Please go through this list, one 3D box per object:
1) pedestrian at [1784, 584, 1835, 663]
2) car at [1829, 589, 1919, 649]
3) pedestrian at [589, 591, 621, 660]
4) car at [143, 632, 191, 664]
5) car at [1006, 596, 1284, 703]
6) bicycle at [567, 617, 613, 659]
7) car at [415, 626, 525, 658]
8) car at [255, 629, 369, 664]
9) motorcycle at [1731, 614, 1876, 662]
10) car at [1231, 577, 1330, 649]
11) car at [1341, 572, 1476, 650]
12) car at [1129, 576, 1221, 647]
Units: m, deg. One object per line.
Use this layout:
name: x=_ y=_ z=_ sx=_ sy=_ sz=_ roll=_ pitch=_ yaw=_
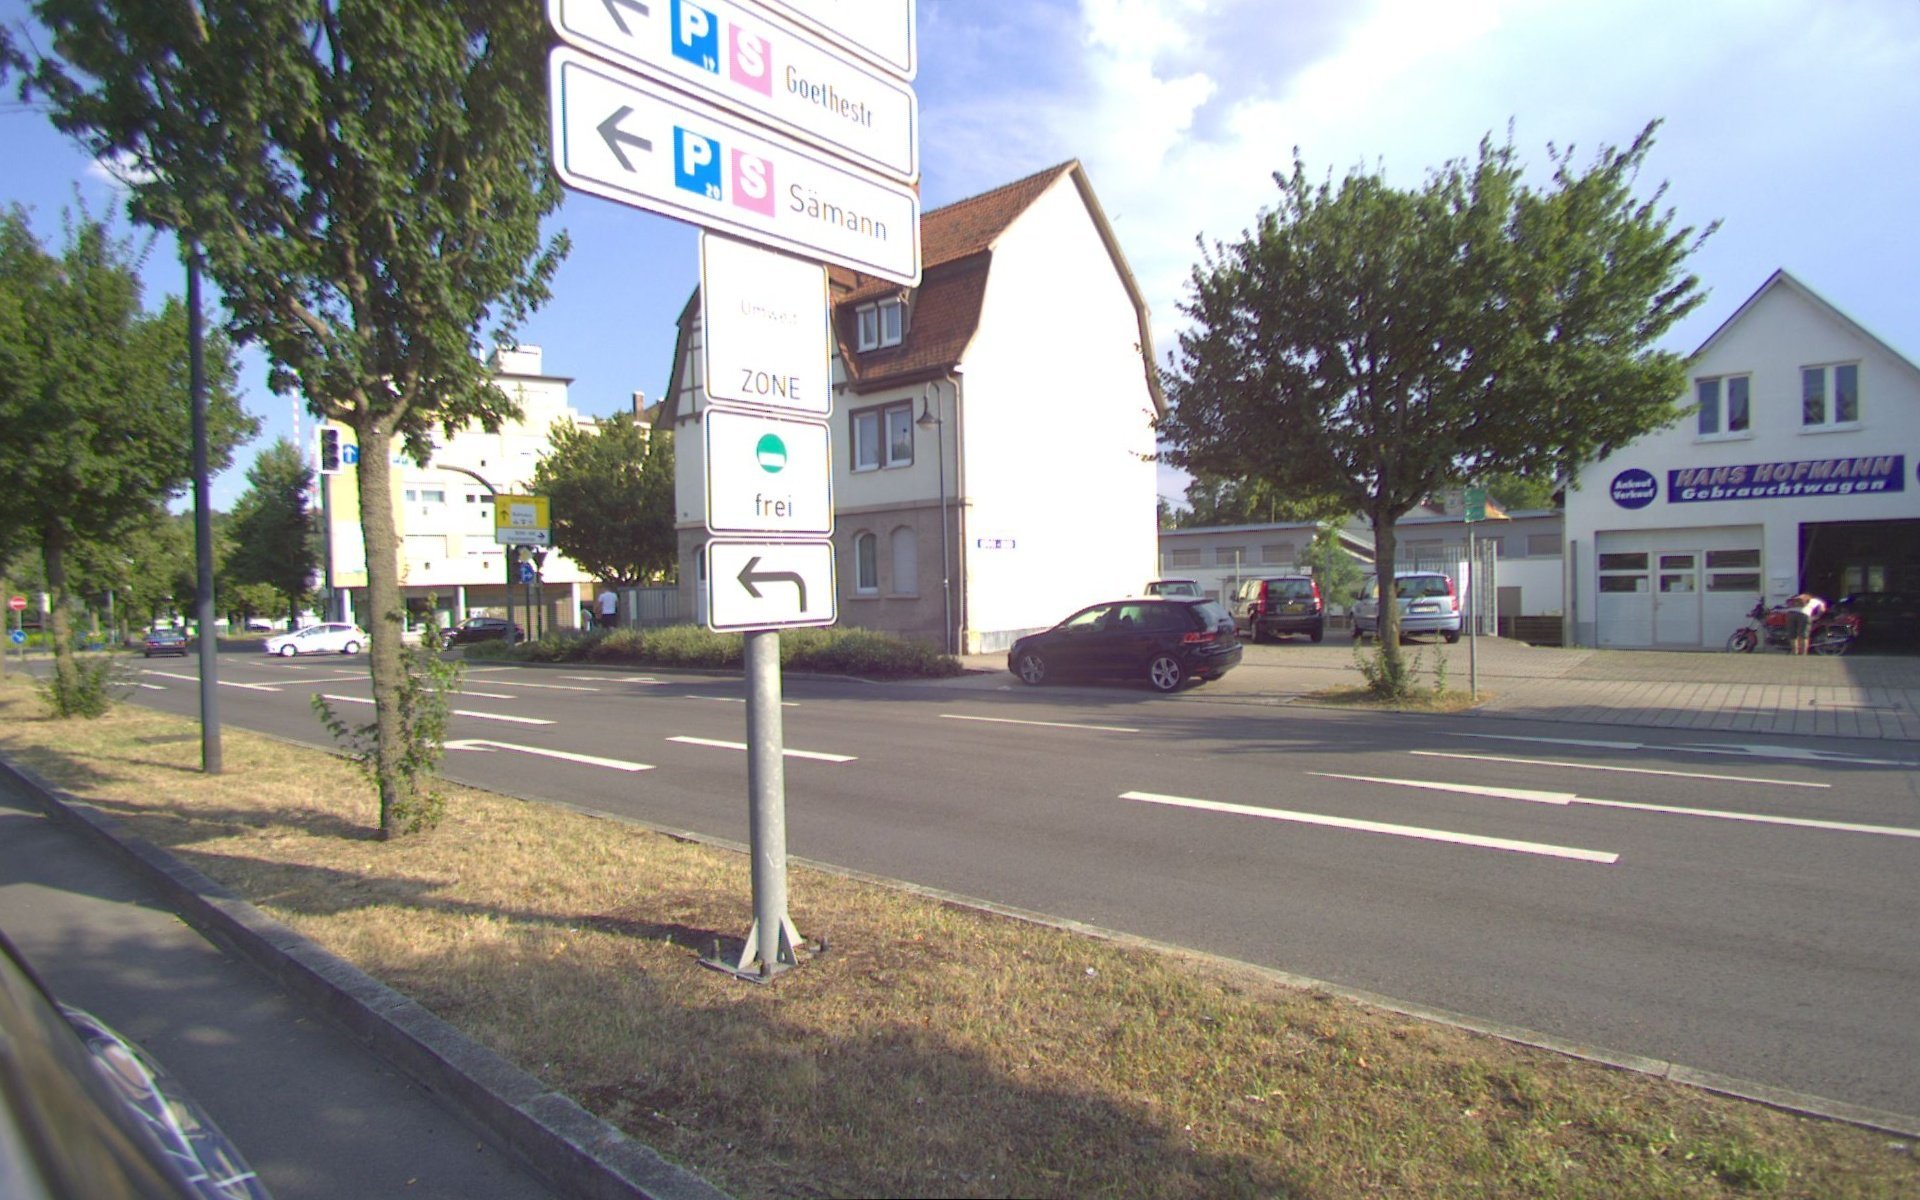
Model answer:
pedestrian: x=16.708 y=0.453 z=19.908 sx=0.643 sy=1.535 sz=0.675 roll=-1 pitch=0 yaw=-42
car: x=23.278 y=0.429 z=25.548 sx=1.886 sy=1.395 sz=4.026 roll=-1 pitch=0 yaw=42
pedestrian: x=-10.541 y=0.744 z=30.067 sx=0.588 sy=1.997 sz=0.690 roll=-1 pitch=0 yaw=42
car: x=-38.126 y=2.293 z=48.710 sx=1.739 sy=1.364 sz=4.170 roll=-1 pitch=0 yaw=-37
car: x=2.999 y=0.751 z=16.905 sx=4.192 sy=1.454 sz=1.816 roll=-1 pitch=3 yaw=40
bicycle: x=-11.225 y=1.137 z=30.662 sx=1.514 sy=1.231 sz=0.672 roll=-1 pitch=0 yaw=42
car: x=-24.171 y=2.027 z=50.038 sx=4.595 sy=1.364 sz=1.770 roll=-1 pitch=0 yaw=-42
car: x=-29.298 y=2.078 z=45.813 sx=4.070 sy=1.364 sz=1.769 roll=-1 pitch=0 yaw=-44
motorcycle: x=17.006 y=0.751 z=20.450 sx=2.211 sy=0.927 sz=0.500 roll=-1 pitch=0 yaw=44
car: x=7.625 y=0.299 z=24.392 sx=1.749 sy=1.564 sz=3.987 roll=-1 pitch=0 yaw=11
car: x=9.921 y=0.231 z=22.713 sx=1.748 sy=1.564 sz=3.989 roll=-1 pitch=0 yaw=9
car: x=5.248 y=0.217 z=25.135 sx=1.746 sy=1.563 sz=3.993 roll=-2 pitch=1 yaw=6
